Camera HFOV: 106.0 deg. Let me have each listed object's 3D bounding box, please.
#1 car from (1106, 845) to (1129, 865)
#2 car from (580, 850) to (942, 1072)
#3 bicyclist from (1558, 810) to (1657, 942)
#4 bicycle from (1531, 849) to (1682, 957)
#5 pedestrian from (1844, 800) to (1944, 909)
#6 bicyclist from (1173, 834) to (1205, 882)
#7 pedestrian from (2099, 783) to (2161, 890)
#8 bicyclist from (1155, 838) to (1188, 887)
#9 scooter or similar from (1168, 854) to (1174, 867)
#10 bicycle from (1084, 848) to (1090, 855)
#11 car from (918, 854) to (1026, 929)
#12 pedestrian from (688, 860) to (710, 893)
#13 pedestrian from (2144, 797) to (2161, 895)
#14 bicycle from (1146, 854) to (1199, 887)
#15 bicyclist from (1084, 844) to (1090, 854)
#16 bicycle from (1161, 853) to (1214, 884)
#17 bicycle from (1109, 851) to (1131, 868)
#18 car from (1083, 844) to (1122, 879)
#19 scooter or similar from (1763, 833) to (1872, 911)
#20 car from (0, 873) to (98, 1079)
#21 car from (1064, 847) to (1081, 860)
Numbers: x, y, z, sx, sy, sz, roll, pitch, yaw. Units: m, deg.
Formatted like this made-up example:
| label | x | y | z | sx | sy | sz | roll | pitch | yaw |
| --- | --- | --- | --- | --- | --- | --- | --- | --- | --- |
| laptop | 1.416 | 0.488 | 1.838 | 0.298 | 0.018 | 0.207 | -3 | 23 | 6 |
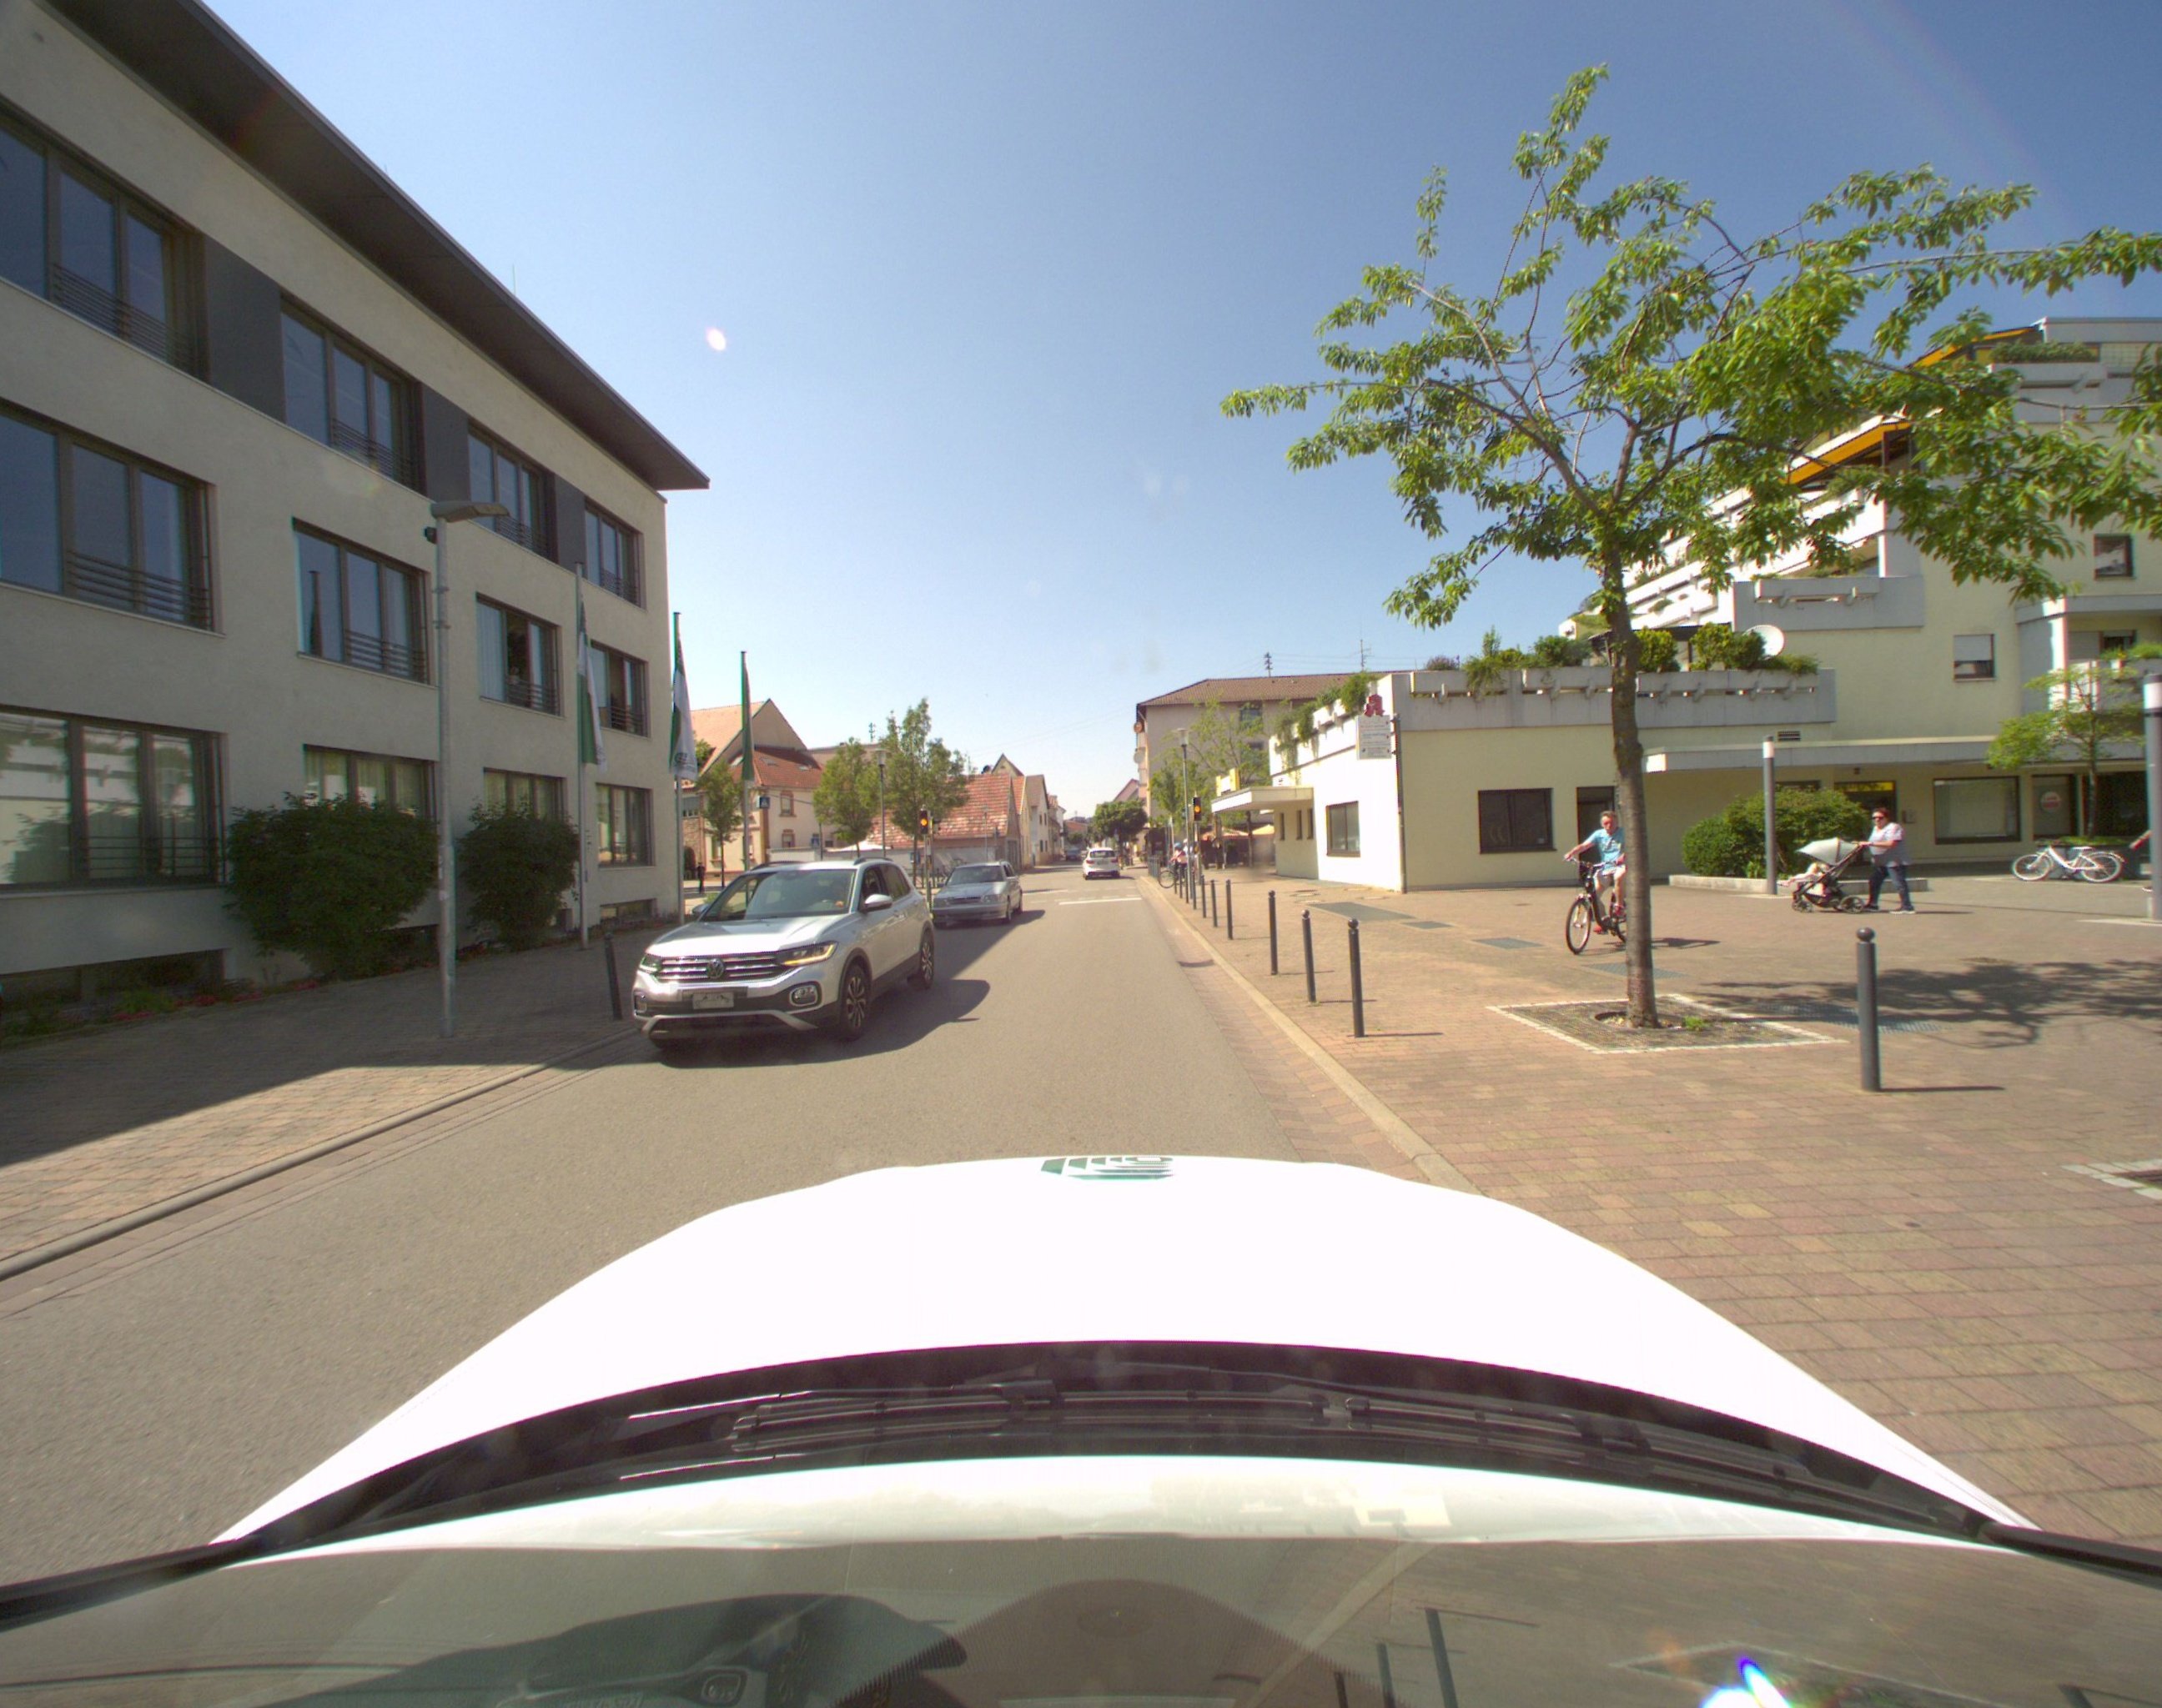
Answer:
| label | x | y | z | sx | sy | sz | roll | pitch | yaw |
| --- | --- | --- | --- | --- | --- | --- | --- | --- | --- |
| car | 3.121 | 0.090 | 68.632 | 1.797 | 1.501 | 4.005 | -2 | 1 | 4 |
| car | -2.766 | 0.802 | 8.150 | 1.844 | 1.573 | 4.002 | -2 | 0 | 2 |
| bicyclist | 6.508 | 0.258 | 10.075 | 0.763 | 1.526 | 0.665 | -4 | 1 | -27 |
| bicycle | 6.519 | 0.566 | 10.073 | 1.900 | 1.109 | 0.670 | -5 | 1 | -27 |
| pedestrian | 11.832 | 0.008 | 11.879 | 0.792 | 1.521 | 0.710 | -2 | 0 | 21 |
| bicyclist | 3.909 | 0.141 | 29.469 | 0.765 | 1.664 | 0.663 | -5 | 1 | -38 |
| pedestrian | 17.887 | -0.298 | 13.565 | 0.701 | 1.736 | 0.900 | -2 | 0 | -8 |
| bicyclist | 3.114 | 0.283 | 27.872 | 0.766 | 1.581 | 0.663 | -5 | 1 | -41 |
| scooter or similar | 6.260 | 0.436 | 56.823 | 0.377 | 0.873 | 0.892 | -3 | 0 | 6 |
| bicycle | 0.928 | -0.400 | 124.258 | 0.661 | 1.006 | 1.900 | -3 | 0 | 5 |
| car | -2.517 | 0.824 | 19.907 | 1.874 | 1.464 | 4.437 | -4 | 0 | 1 |
| pedestrian | -19.334 | 1.130 | 41.214 | 0.818 | 1.654 | 0.841 | -1 | 0 | -38 |
| pedestrian | 16.857 | -0.138 | 12.402 | 0.661 | 1.497 | 0.816 | -1 | 1 | 43 |
| bicycle | 3.153 | 0.568 | 27.905 | 1.907 | 0.958 | 0.668 | -5 | 1 | -42 |
| bicyclist | 0.932 | -0.796 | 124.158 | 0.670 | 1.482 | 0.771 | -3 | 0 | 4 |
| bicycle | 3.857 | 0.514 | 29.415 | 1.905 | 0.958 | 0.668 | -5 | 1 | -38 |
| bicycle | 2.847 | 0.401 | 59.847 | 0.530 | 1.193 | 1.655 | -3 | 0 | -41 |
| car | 1.067 | 0.353 | 42.417 | 1.828 | 1.652 | 3.999 | -3 | 0 | 0 |
| scooter or similar | 11.009 | 0.267 | 12.212 | 1.031 | 1.106 | 0.631 | -2 | 0 | 22 |
| car | -10.520 | 0.993 | 5.747 | 4.491 | 1.554 | 2.148 | -1 | 0 | 0 |
| car | -0.977 | -0.117 | 99.524 | 1.706 | 1.517 | 3.791 | -2 | 0 | 4 |
